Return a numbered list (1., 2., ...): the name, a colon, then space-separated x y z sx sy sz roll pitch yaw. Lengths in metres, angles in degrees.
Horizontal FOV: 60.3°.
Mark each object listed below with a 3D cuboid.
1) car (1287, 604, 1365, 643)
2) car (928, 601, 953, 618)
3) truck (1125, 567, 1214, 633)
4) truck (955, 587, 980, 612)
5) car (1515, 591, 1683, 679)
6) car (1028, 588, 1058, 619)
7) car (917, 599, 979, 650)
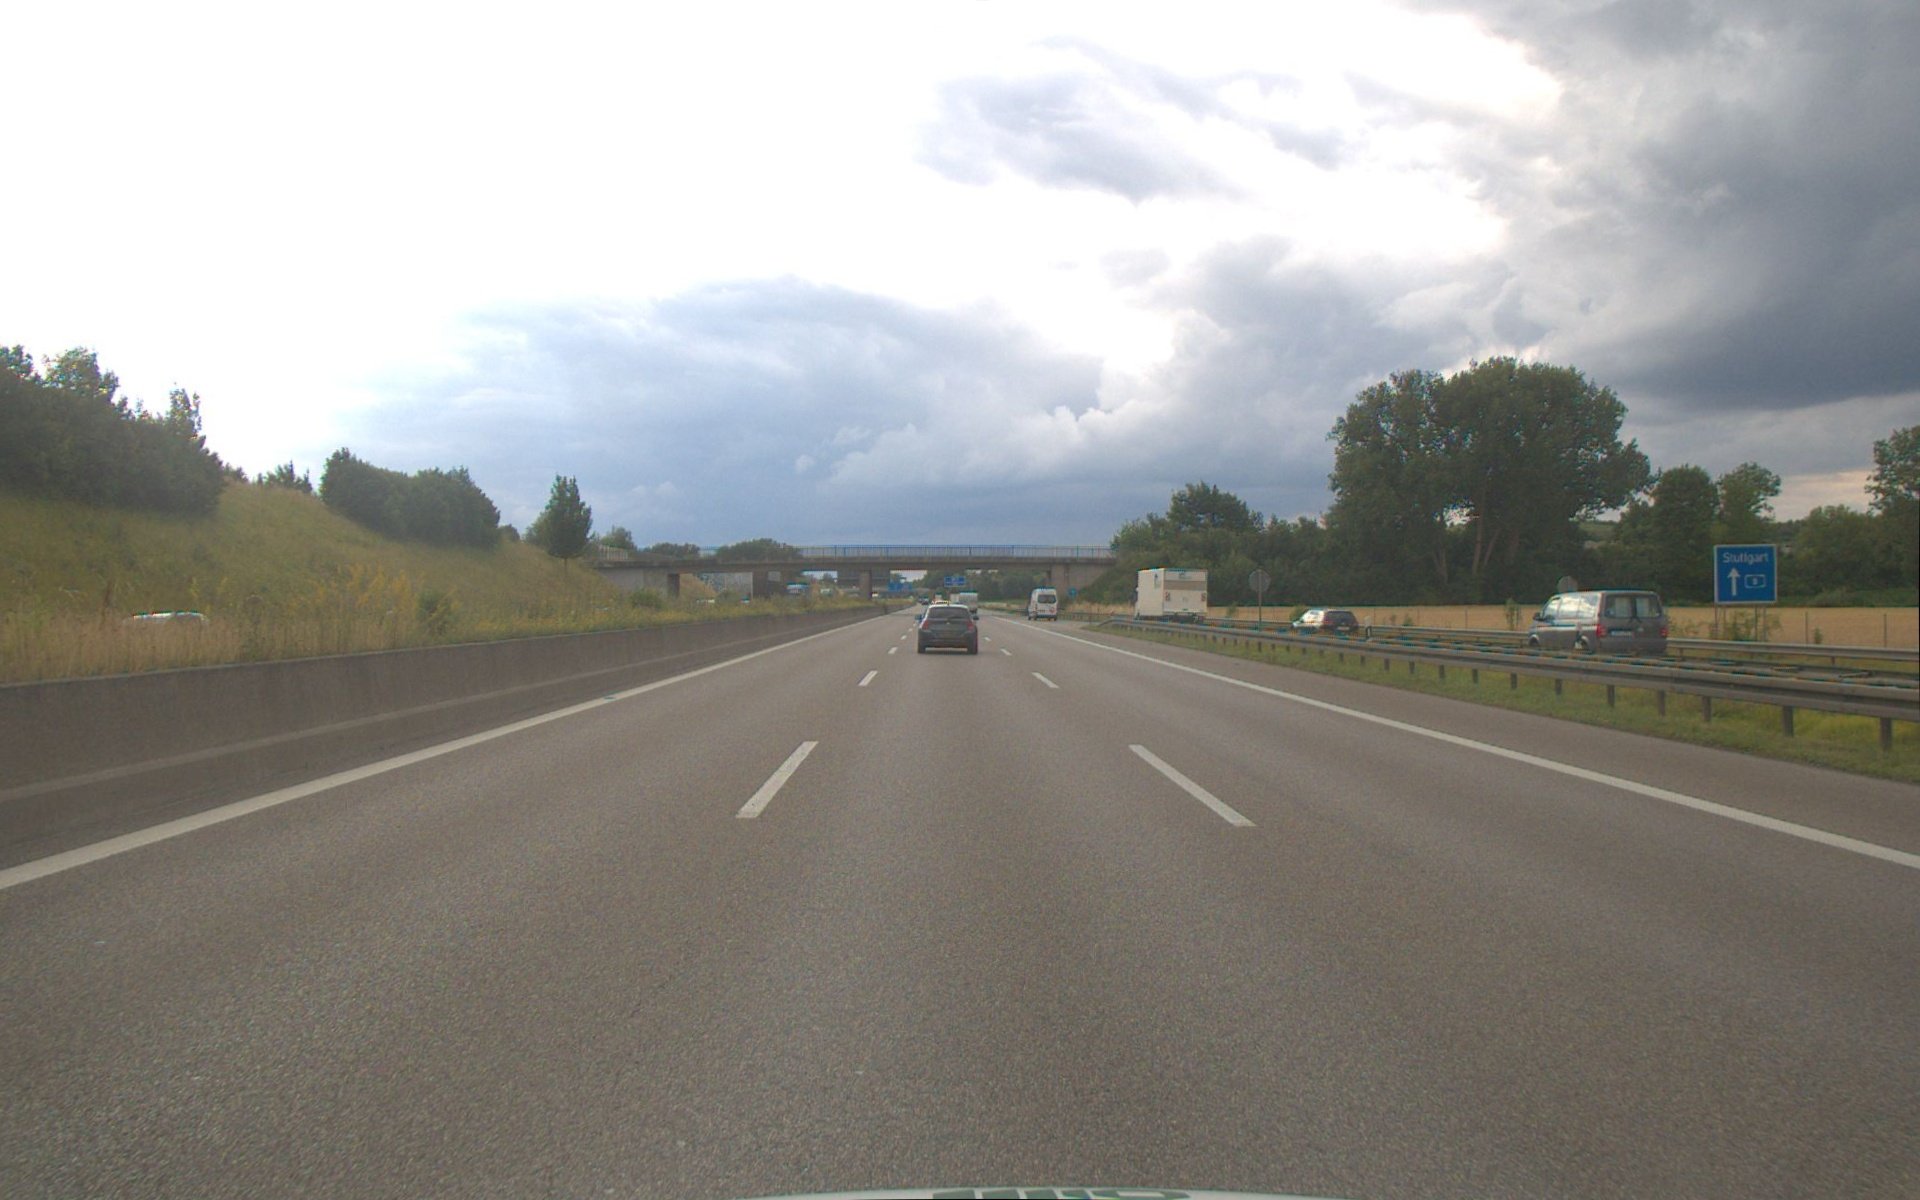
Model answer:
1. car: 15.536 0.988 70.489 1.880 1.577 4.919 -1 0 -4
2. car: -1.552 0.721 131.647 1.953 1.321 3.999 -1 0 -2
3. truck: 11.974 0.026 95.299 3.045 3.531 8.879 2 0 -6
4. truck: 0.890 -0.030 206.010 2.655 3.016 12.443 2 0 -1
5. car: 16.130 0.833 42.056 2.101 2.099 4.954 1 0 -4
6. car: 7.147 0.322 142.811 2.176 2.613 6.255 0 0 -1
7. car: -0.367 0.693 48.617 1.708 1.413 3.999 1 0 -1
